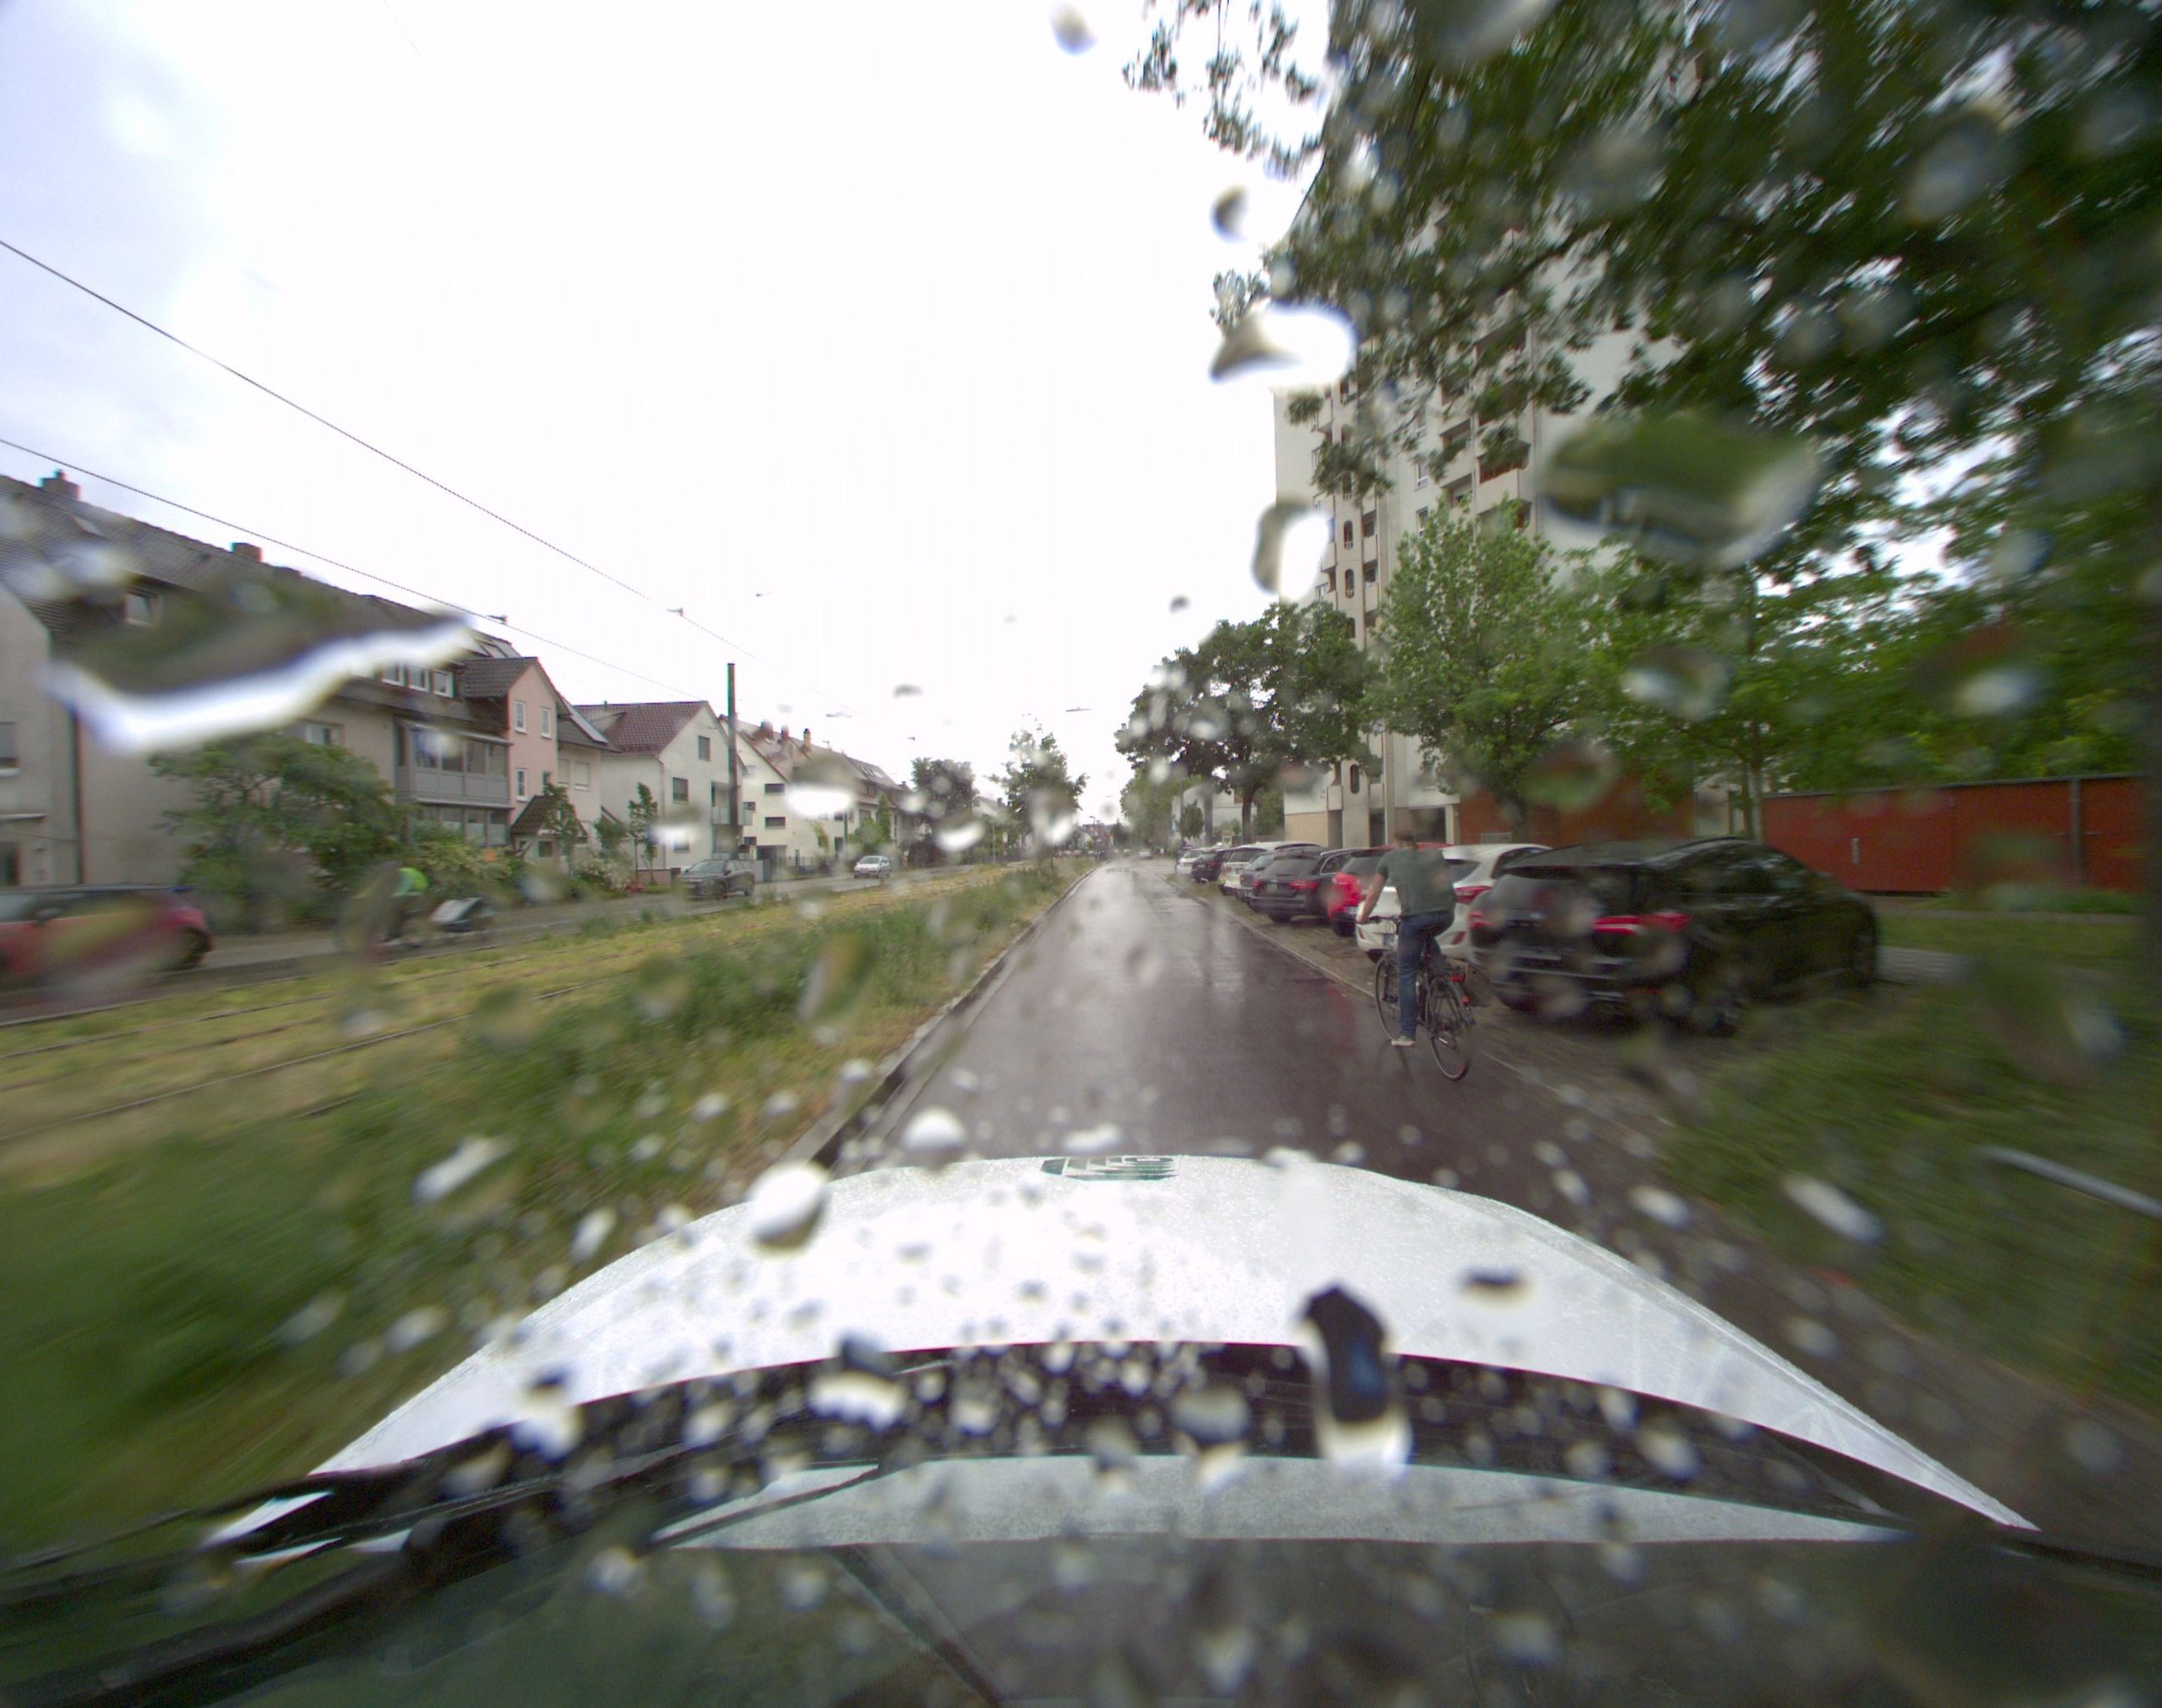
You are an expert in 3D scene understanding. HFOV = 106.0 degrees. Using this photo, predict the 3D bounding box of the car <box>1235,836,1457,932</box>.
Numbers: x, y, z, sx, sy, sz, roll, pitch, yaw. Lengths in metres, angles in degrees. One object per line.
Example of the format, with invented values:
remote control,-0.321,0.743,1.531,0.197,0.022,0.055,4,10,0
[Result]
car,5.348,0.513,16.229,4.477,1.428,1.668,-5,2,-32

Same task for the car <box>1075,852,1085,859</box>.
car,-0.150,0.388,201.318,1.918,1.486,4.009,0,-1,8

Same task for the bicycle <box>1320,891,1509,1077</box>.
bicycle,2.383,0.860,6.098,0.535,1.093,1.946,0,-1,-3

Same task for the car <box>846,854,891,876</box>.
car,-14.180,0.754,54.613,1.986,1.414,3.659,0,-1,1

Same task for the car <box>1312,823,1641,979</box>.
car,5.331,0.478,10.784,4.478,1.465,1.801,-5,2,-33

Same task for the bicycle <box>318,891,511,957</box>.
bicycle,-12.991,1.313,16.122,0.931,1.043,3.434,0,0,1

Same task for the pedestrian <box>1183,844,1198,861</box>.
pedestrian,9.699,-0.114,72.001,0.840,1.517,1.085,0,-1,-26

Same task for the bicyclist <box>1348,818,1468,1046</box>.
bicyclist,2.380,0.536,5.997,0.533,1.559,0.771,0,-1,-4

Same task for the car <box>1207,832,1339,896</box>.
car,6.230,0.282,26.248,4.204,1.671,1.666,-5,2,-35

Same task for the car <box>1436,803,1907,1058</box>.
car,5.416,0.476,7.317,4.475,1.542,1.668,-5,0,-30

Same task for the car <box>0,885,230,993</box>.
car,-15.549,1.200,11.960,1.986,1.373,3.844,0,-1,1

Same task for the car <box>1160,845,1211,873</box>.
car,6.140,0.299,47.874,2.577,1.548,1.585,-2,0,-38

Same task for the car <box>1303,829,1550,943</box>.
car,5.971,0.437,13.855,4.482,1.428,1.790,-5,2,-36

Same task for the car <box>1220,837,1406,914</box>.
car,5.656,0.449,19.648,4.478,1.410,1.750,-5,2,-33

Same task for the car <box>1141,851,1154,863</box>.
car,8.820,0.398,108.104,1.642,1.405,4.655,-5,-1,5

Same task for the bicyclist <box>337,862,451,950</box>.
bicyclist,-13.026,0.949,15.506,0.950,1.584,1.400,0,-1,1

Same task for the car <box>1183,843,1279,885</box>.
car,6.406,0.400,34.714,3.962,1.431,1.666,-5,2,-35

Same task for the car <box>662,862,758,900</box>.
car,-14.749,1.028,32.640,1.830,1.427,4.175,0,0,1

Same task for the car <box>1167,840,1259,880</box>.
car,6.160,0.255,37.891,4.206,1.547,1.745,-5,2,-38

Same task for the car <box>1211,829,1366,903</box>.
car,5.929,0.282,23.011,4.483,1.671,1.792,-5,2,-37

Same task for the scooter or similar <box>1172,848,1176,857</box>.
scooter or similar,12.061,-0.198,105.733,0.331,1.085,1.399,-1,-1,10
